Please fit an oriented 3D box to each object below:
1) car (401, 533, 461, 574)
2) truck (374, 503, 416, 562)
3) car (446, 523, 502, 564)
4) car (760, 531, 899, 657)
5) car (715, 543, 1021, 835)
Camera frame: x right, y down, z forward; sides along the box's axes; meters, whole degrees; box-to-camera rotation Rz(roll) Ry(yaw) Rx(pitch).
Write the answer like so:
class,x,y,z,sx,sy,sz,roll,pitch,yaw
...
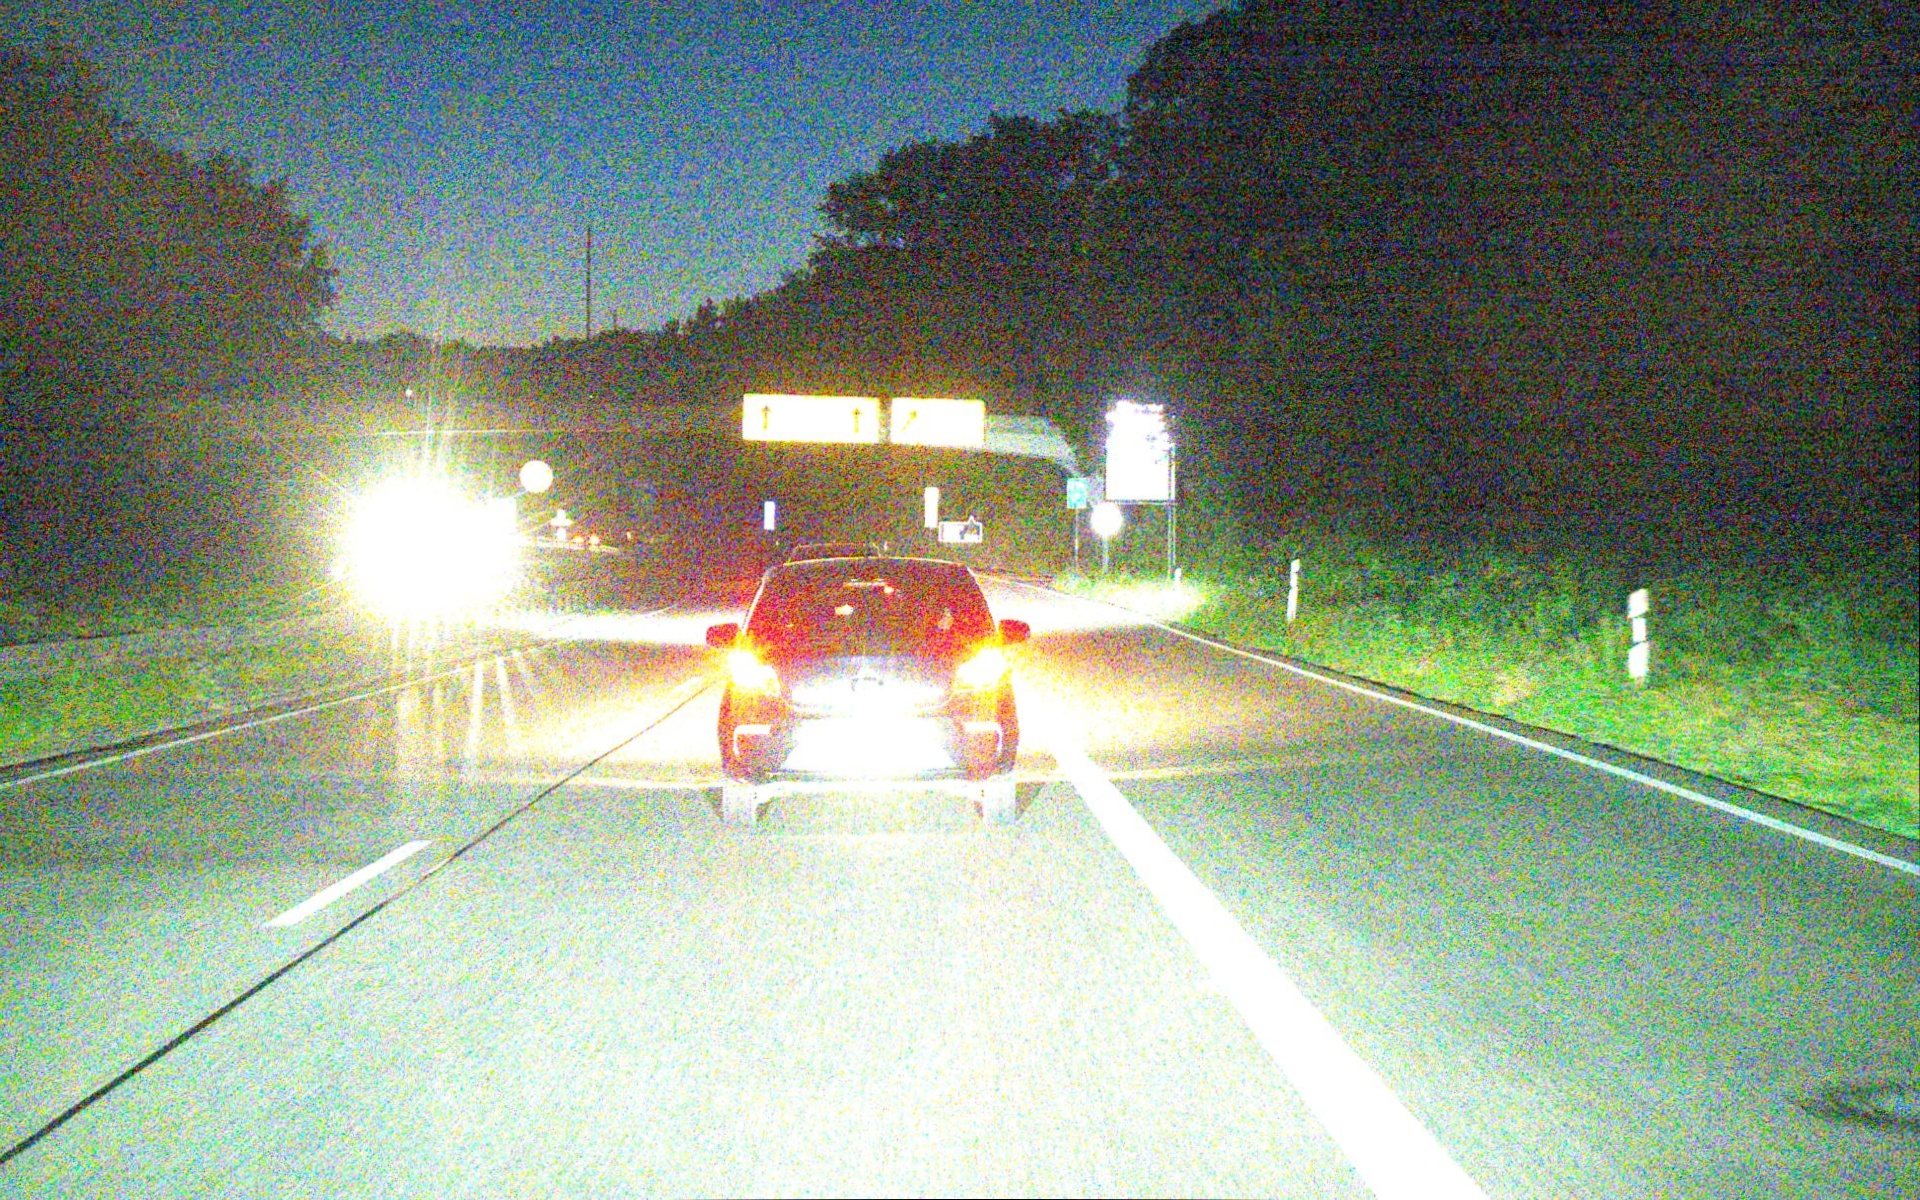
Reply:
class,x,y,z,sx,sy,sz,roll,pitch,yaw
car,-19.779,-1.758,128.642,1.728,1.512,4.159,0,1,-2
truck,-42.614,-5.073,259.250,2.625,4.218,8.598,3,1,-11
car,-21.496,-2.507,152.152,1.967,1.757,5.033,0,1,-2
car,-1.904,-0.128,50.692,1.906,1.692,4.001,2,1,-2
car,-0.570,0.429,19.851,1.588,1.503,4.001,0,1,-3
